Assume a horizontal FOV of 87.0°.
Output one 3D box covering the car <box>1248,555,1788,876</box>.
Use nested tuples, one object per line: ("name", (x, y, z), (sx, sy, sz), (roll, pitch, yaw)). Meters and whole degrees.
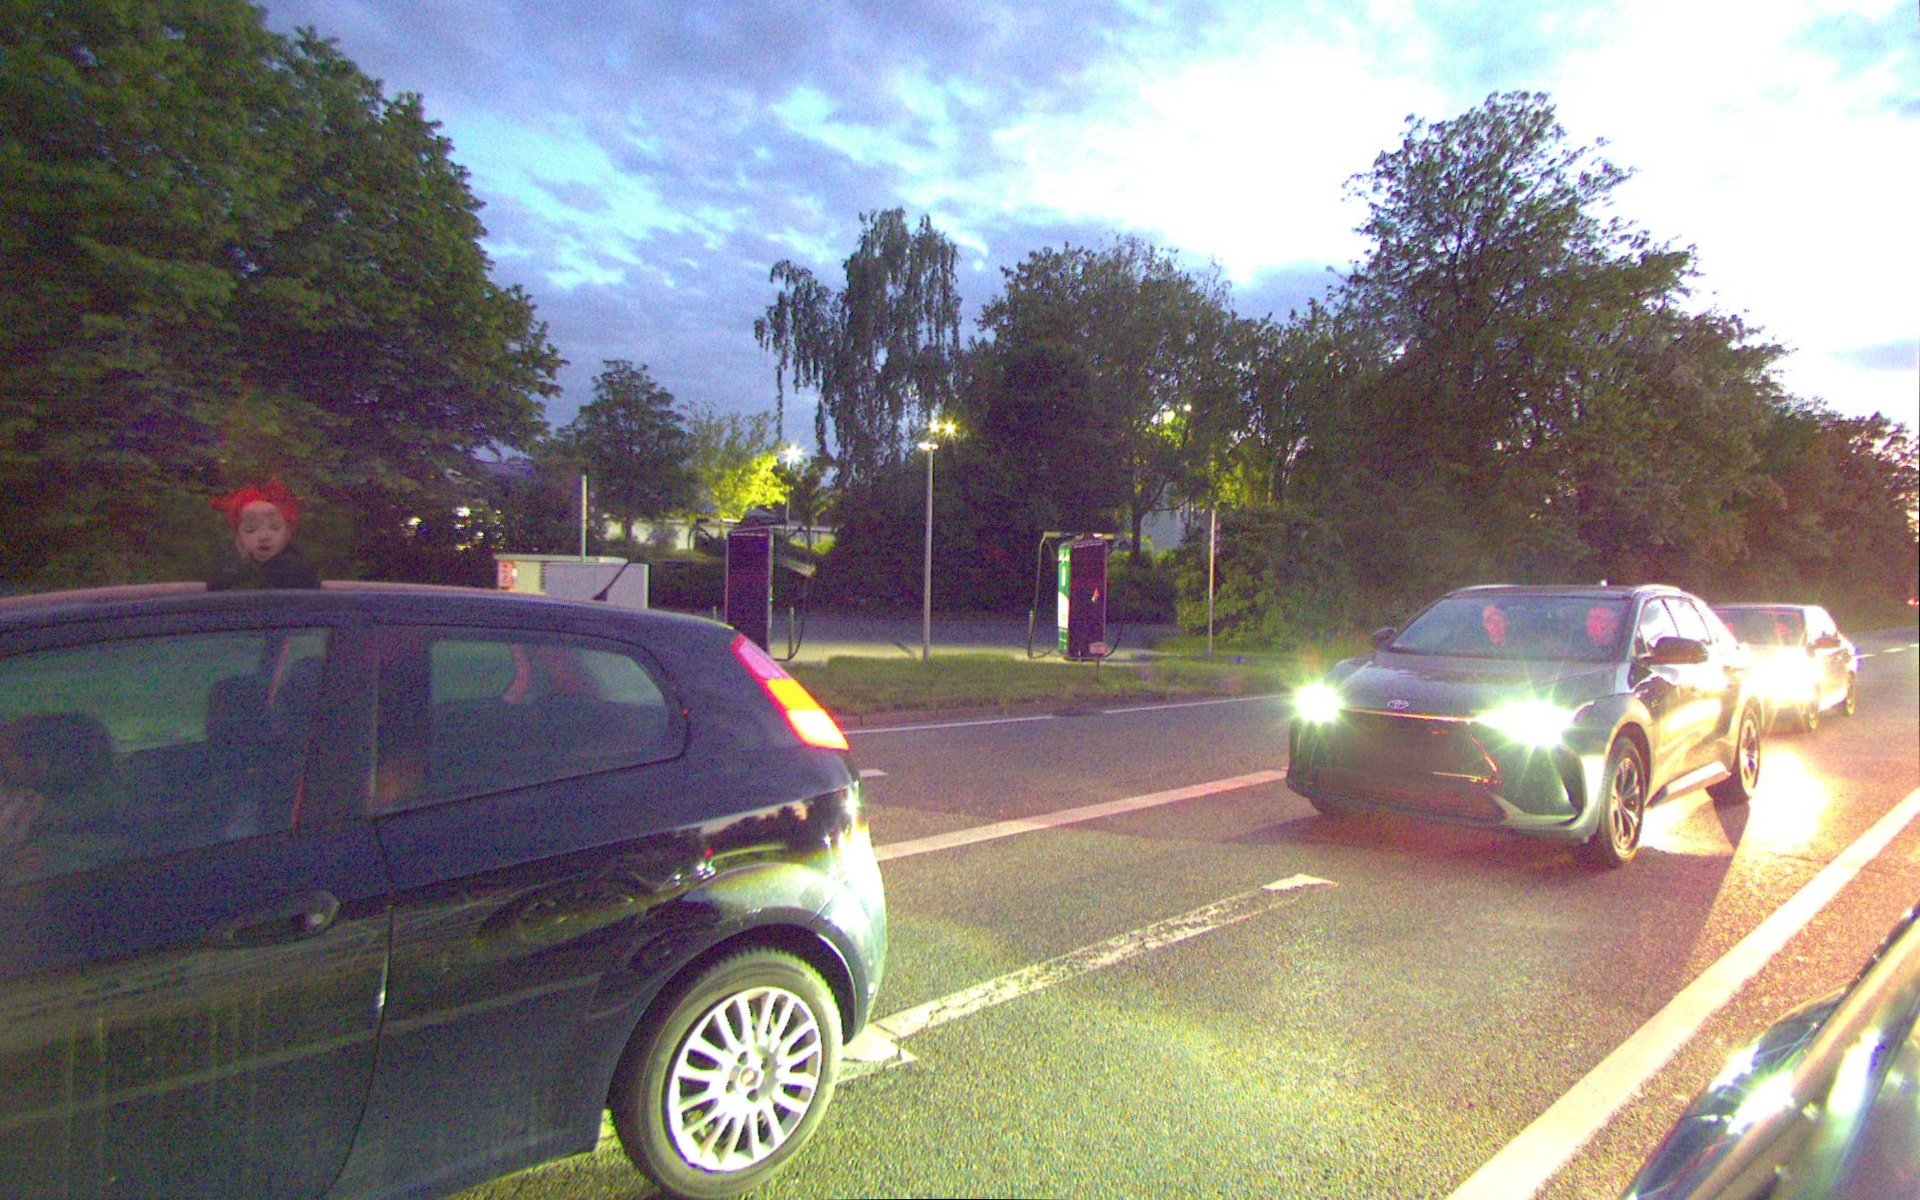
("car", (4.060, 0.595, 7.070), (4.223, 1.577, 1.901), (1, -1, -40))

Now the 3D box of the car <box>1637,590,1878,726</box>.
("car", (10.017, 0.636, 12.630), (3.688, 1.431, 1.621), (1, 1, -40))

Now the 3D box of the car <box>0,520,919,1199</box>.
("car", (-2.046, 0.641, 2.215), (3.648, 1.556, 1.662), (1, 0, -40))
